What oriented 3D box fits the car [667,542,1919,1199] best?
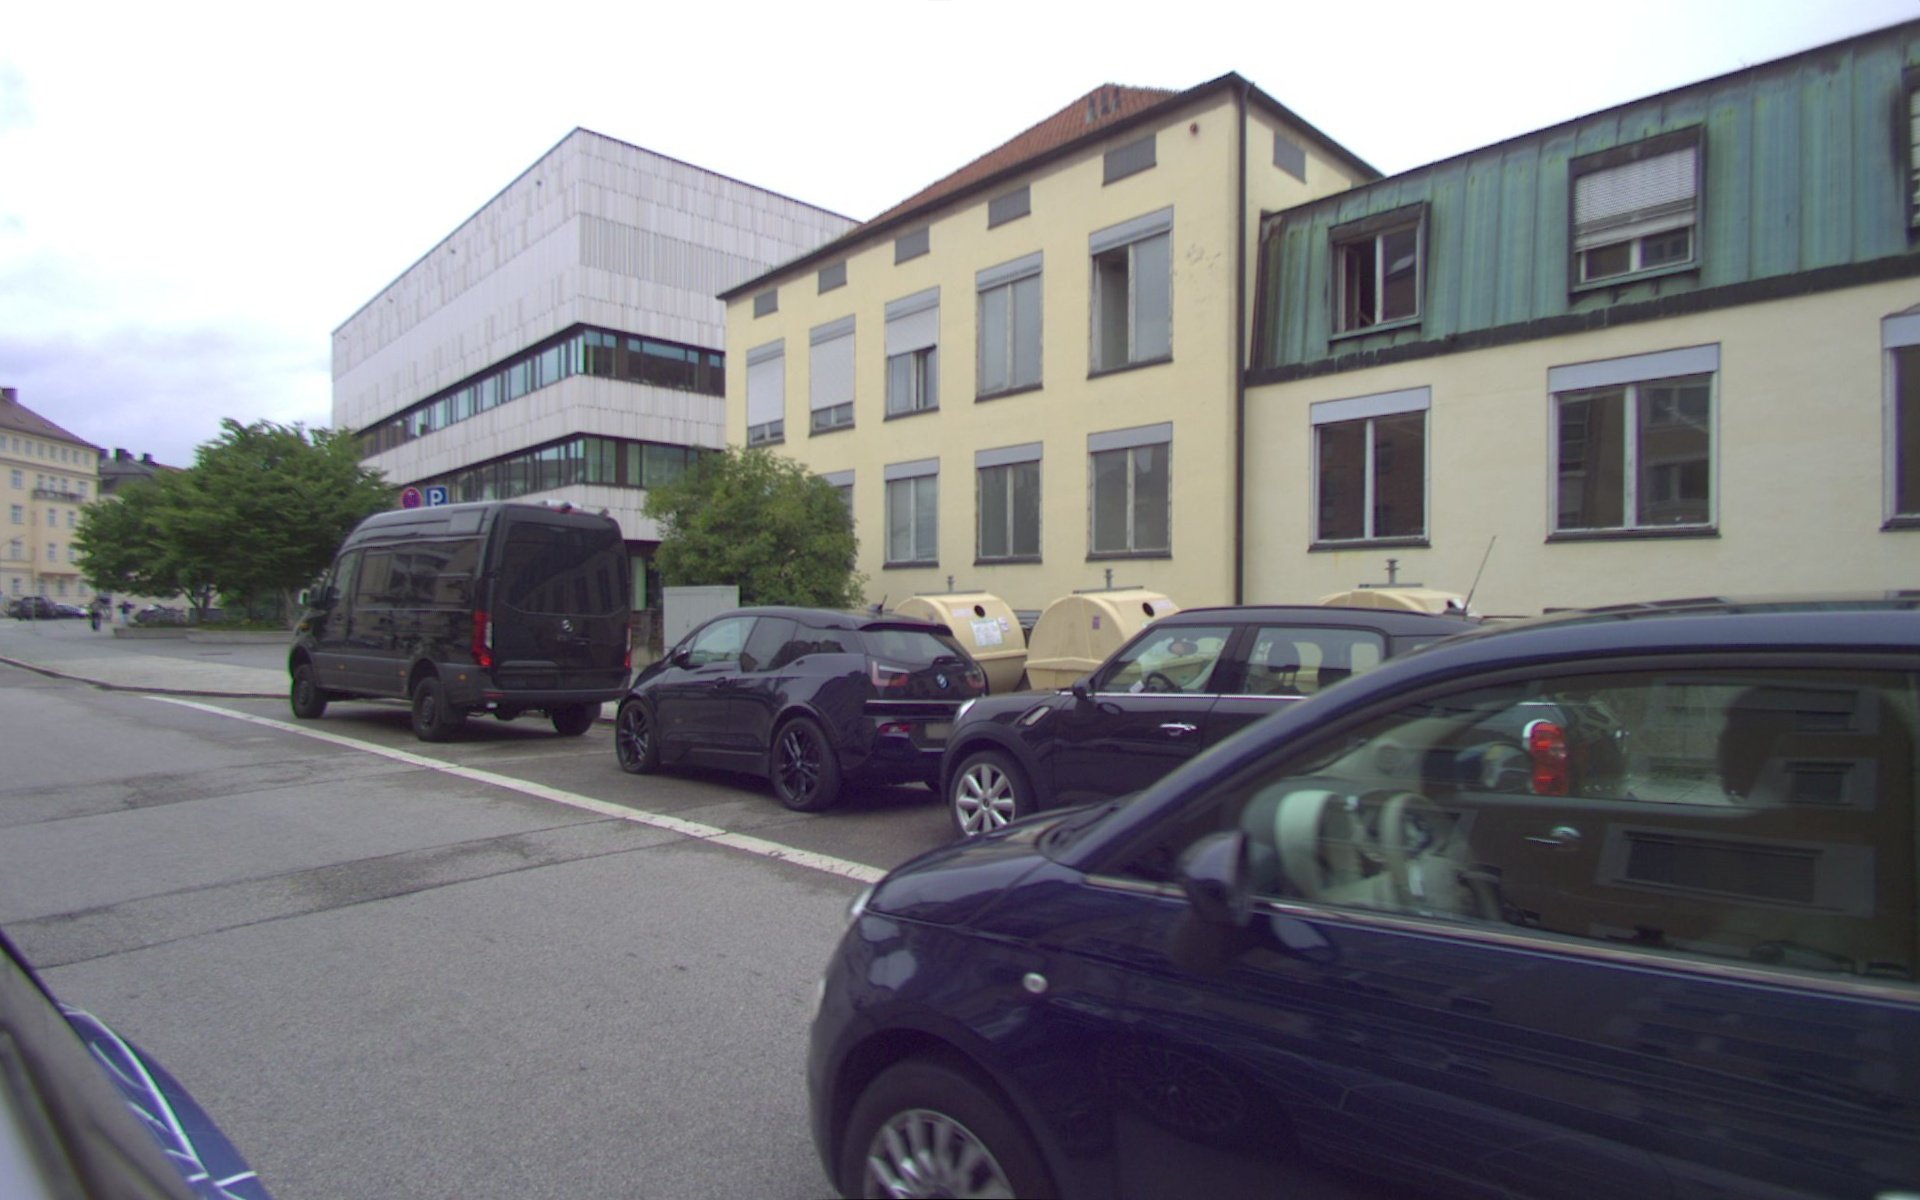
[{"bbox_3d":[1.202,0.685,1.849,3.707,1.486,1.643,0,0,42],"label":"car"}]

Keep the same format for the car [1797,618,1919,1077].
[{"bbox_3d":[5.170,0.830,2.543,1.891,1.493,4.535,5,-4,-43],"label":"car"}]

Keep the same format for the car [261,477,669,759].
[{"bbox_3d":[-6.621,0.239,13.122,6.189,2.875,2.191,0,-3,38],"label":"car"}]

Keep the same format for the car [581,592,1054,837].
[{"bbox_3d":[-1.460,0.852,9.029,4.350,1.649,1.859,-1,-4,44],"label":"car"}]

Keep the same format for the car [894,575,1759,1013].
[{"bbox_3d":[1.810,0.821,5.925,4.352,1.599,1.892,-2,-5,43],"label":"car"}]

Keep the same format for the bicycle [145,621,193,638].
[{"bbox_3d":[-47.480,1.740,60.783,0.795,0.999,2.124,0,-1,29],"label":"bicycle"}]

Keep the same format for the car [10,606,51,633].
[{"bbox_3d":[-72.098,1.480,78.566,1.863,2.029,4.009,0,0,-36],"label":"car"}]

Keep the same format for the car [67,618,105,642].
[{"bbox_3d":[-77.074,2.600,89.286,1.862,2.029,4.012,0,0,-31],"label":"car"}]

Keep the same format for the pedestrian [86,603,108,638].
[{"bbox_3d":[-44.217,1.043,51.835,0.516,1.799,0.777,0,-1,39],"label":"pedestrian"}]

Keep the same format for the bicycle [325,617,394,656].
[{"bbox_3d":[-18.785,1.128,31.675,0.519,1.160,1.791,0,0,44],"label":"bicycle"}]

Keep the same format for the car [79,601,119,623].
[{"bbox_3d":[-80.802,1.076,95.019,1.861,2.029,4.013,0,0,-25],"label":"car"}]

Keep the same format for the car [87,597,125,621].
[{"bbox_3d":[-84.201,0.883,99.828,1.861,2.374,4.013,0,0,-25],"label":"car"}]

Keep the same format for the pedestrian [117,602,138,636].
[{"bbox_3d":[-44.542,1.034,54.135,0.516,1.799,0.777,0,-1,39],"label":"pedestrian"}]

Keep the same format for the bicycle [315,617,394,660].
[{"bbox_3d":[-17.909,1.118,29.974,0.745,1.202,1.890,0,0,40],"label":"bicycle"}]

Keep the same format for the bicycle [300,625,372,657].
[{"bbox_3d":[-19.805,1.296,32.138,0.738,0.934,1.827,0,0,41],"label":"bicycle"}]

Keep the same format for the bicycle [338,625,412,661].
[{"bbox_3d":[-16.689,1.210,28.896,0.473,0.970,1.796,0,0,40],"label":"bicycle"}]
